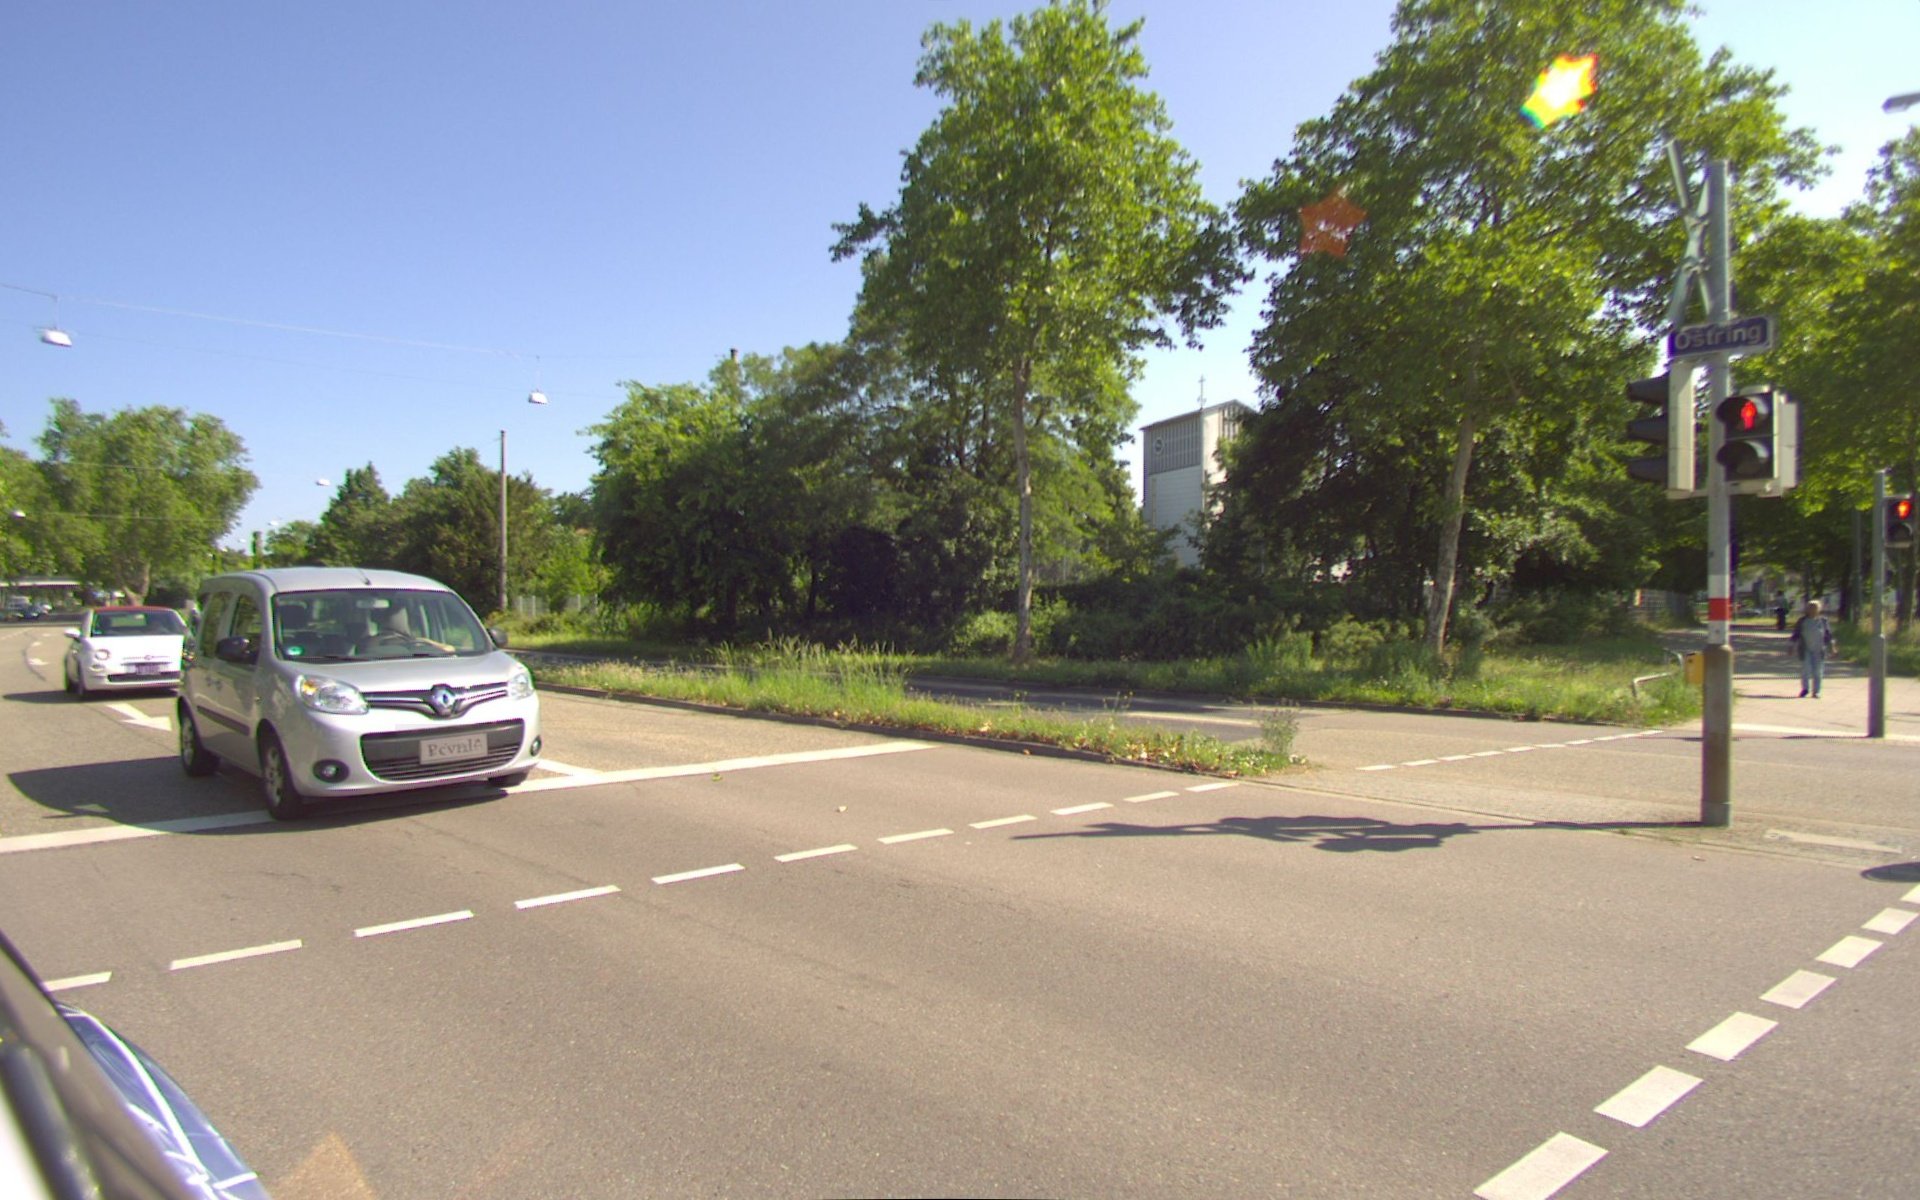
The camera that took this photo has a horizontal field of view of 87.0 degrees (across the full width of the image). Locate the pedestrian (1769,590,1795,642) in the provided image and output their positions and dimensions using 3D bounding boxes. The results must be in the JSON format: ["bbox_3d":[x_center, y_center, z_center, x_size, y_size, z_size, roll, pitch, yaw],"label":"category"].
[{"bbox_3d":[33.205,0.644,40.899,0.753,2.106,0.611,0,-1,35],"label":"pedestrian"}]

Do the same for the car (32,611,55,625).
[{"bbox_3d":[-136.413,2.698,150.665,1.967,2.029,4.010,0,-1,-35],"label":"car"}]

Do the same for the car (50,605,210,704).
[{"bbox_3d":[-14.404,0.853,17.475,4.377,1.502,1.666,-1,-1,44],"label":"car"}]

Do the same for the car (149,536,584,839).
[{"bbox_3d":[-5.063,0.549,8.355,4.374,1.854,1.852,-1,0,42],"label":"car"}]

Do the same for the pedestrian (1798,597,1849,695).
[{"bbox_3d":[13.939,0.723,16.348,0.567,1.546,0.600,-1,-1,36],"label":"pedestrian"}]

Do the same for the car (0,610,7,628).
[{"bbox_3d":[-108.850,2.089,113.624,1.966,2.029,4.012,0,-1,-31],"label":"car"}]
